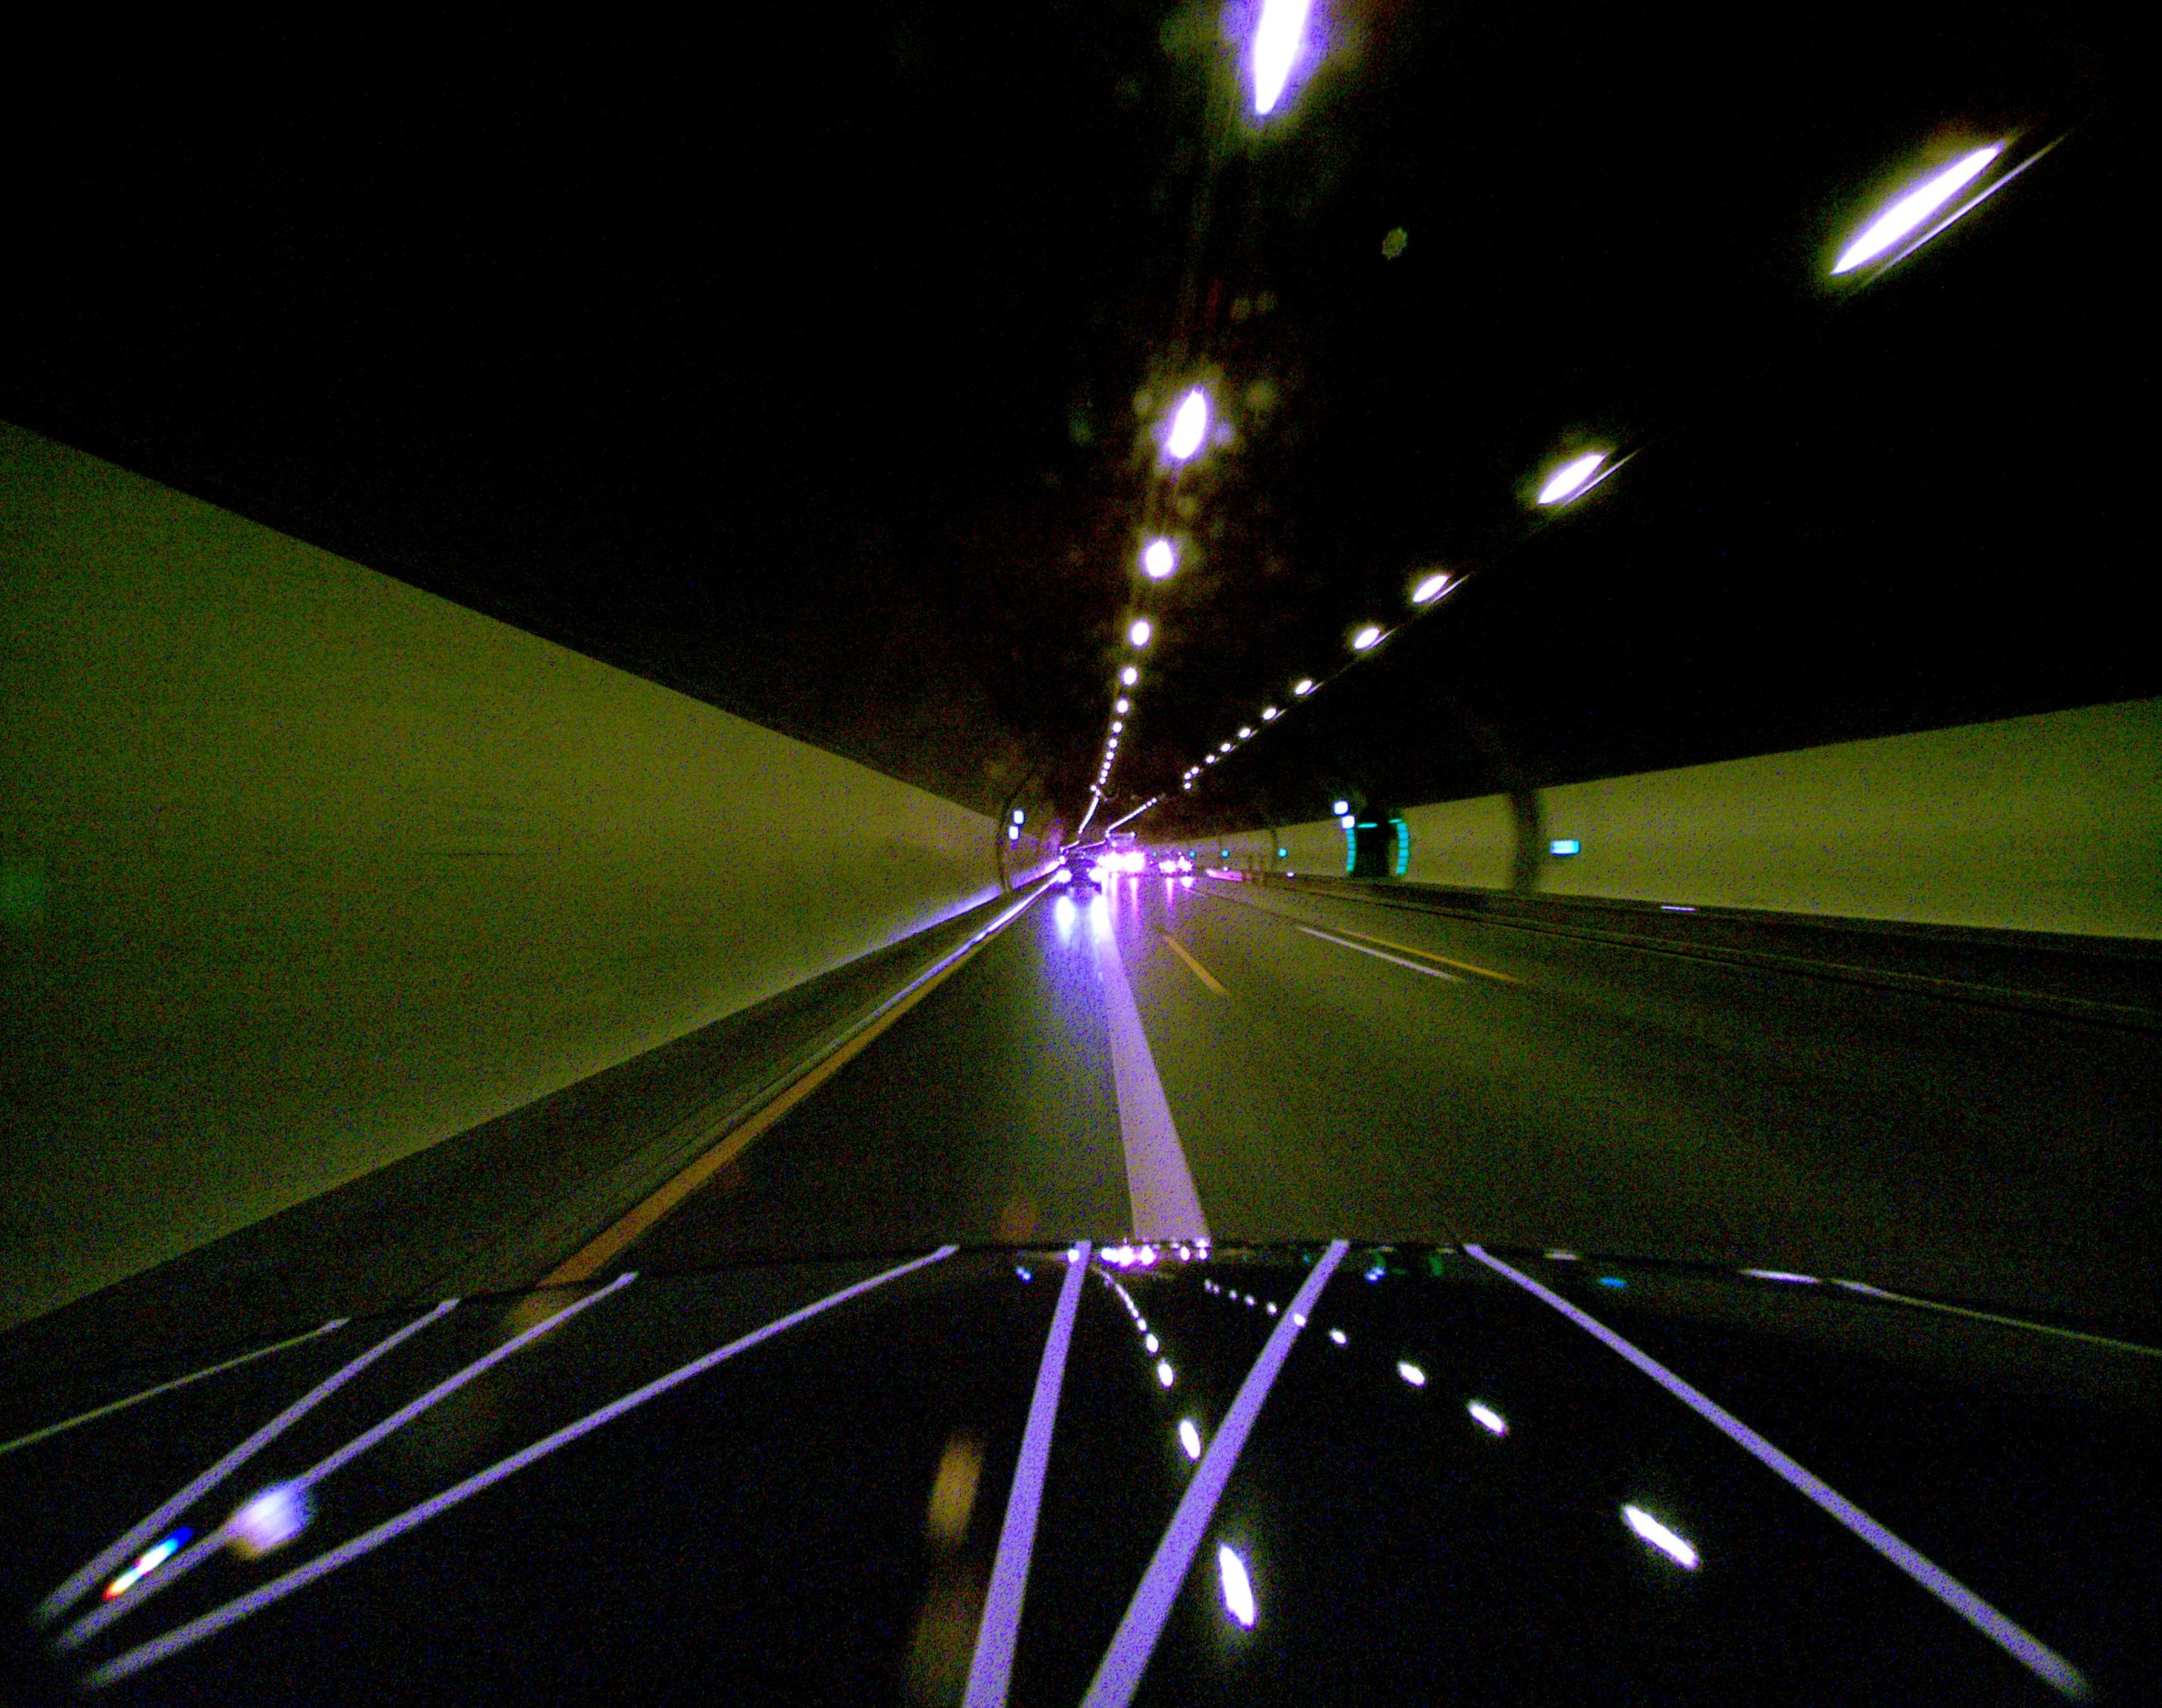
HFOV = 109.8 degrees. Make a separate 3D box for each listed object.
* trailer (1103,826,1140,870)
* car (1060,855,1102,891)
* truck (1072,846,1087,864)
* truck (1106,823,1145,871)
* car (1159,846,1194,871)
[{"bbox_3d":[3.198,-0.482,63.054,2.374,3.328,12.077,-1,0,0],"label":"trailer"},{"bbox_3d":[0.058,0.848,35.203,1.727,1.474,4.000,-2,0,3],"label":"car"},{"bbox_3d":[-0.200,0.228,122.770,2.151,2.609,9.908,-2,-1,1],"label":"truck"},{"bbox_3d":[3.238,-0.514,56.420,2.374,3.328,4.718,-4,1,0],"label":"truck"},{"bbox_3d":[6.480,0.263,51.703,1.766,1.563,4.096,-2,1,-1],"label":"car"}]
